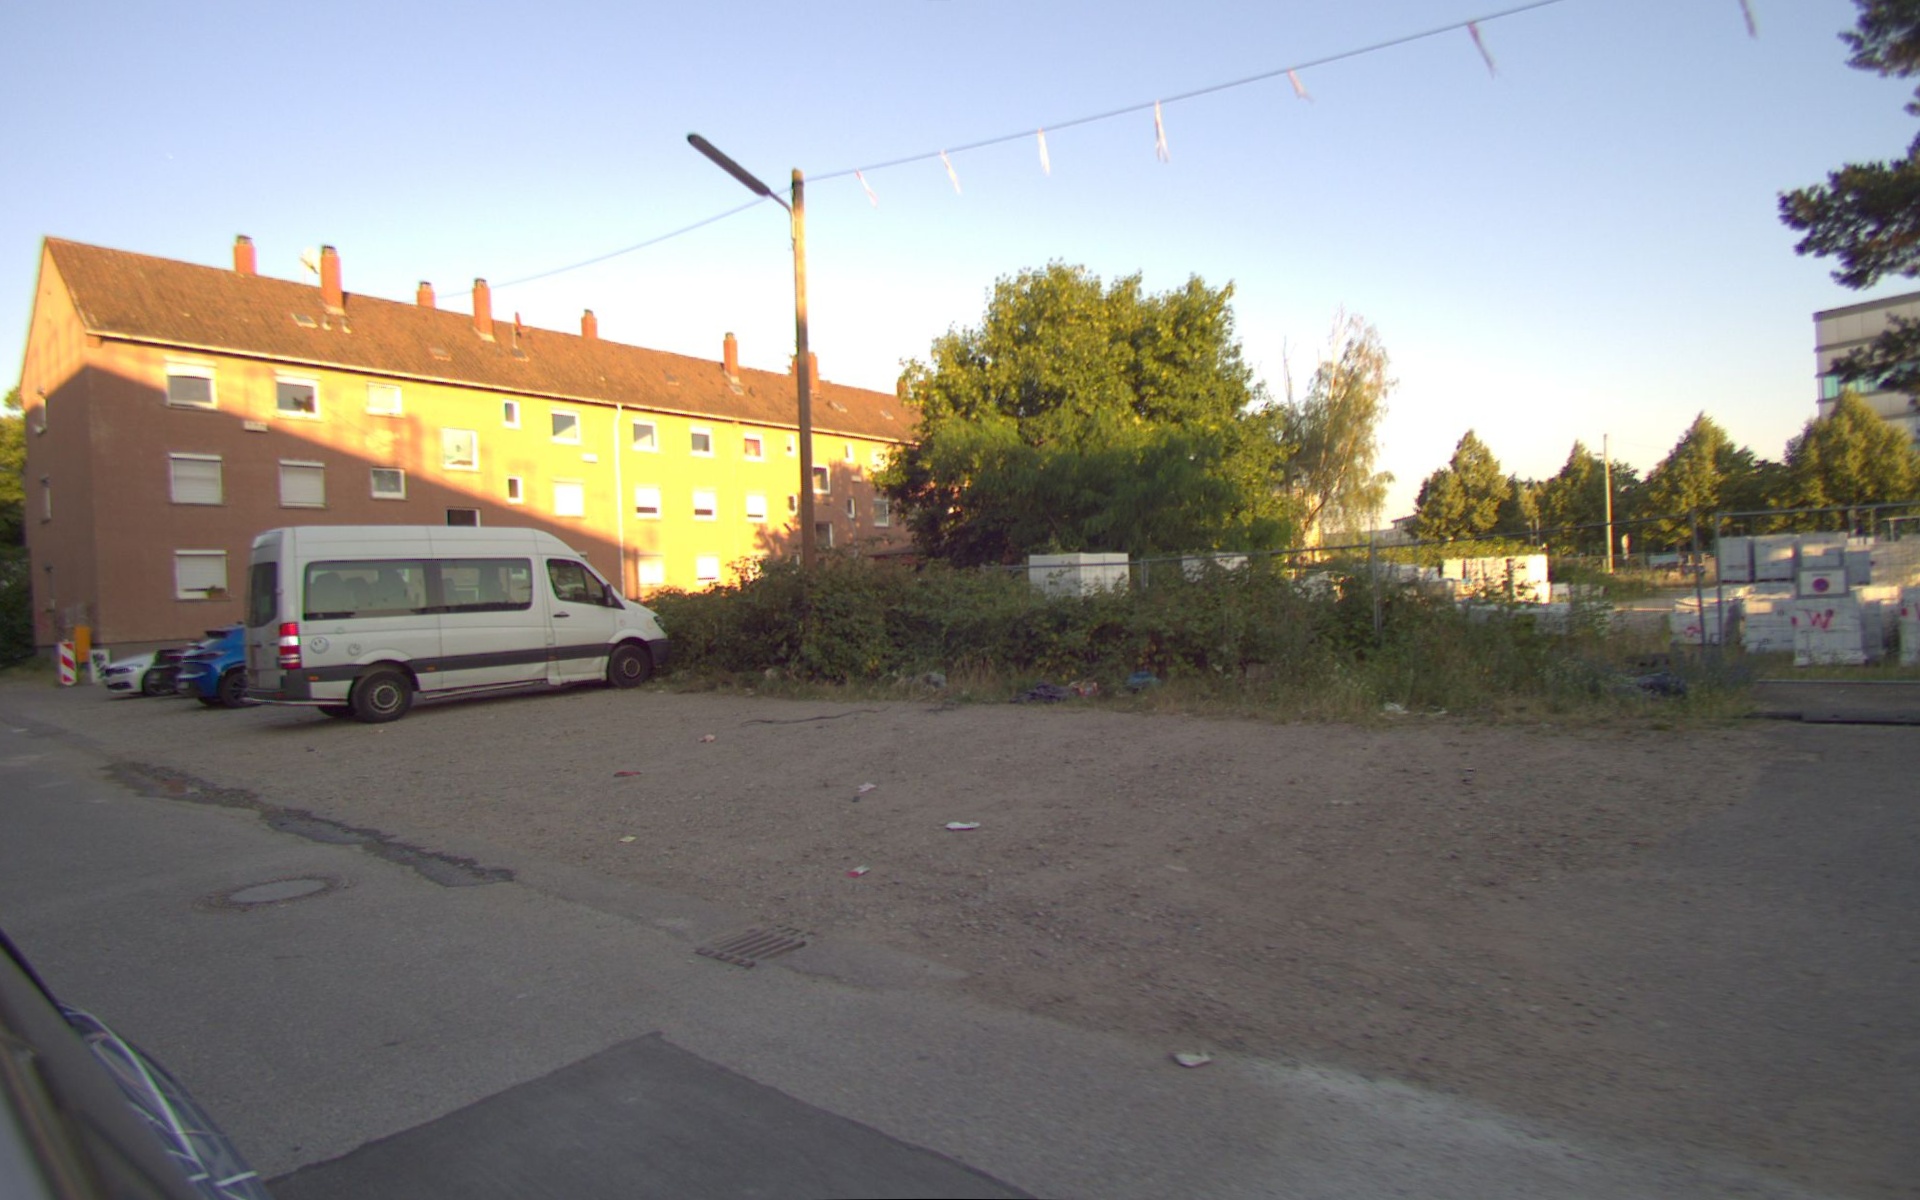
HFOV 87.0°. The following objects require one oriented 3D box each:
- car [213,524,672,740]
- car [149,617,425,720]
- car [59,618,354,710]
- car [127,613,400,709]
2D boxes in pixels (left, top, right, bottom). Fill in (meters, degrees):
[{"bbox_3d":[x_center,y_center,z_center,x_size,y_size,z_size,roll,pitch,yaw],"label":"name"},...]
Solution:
[{"bbox_3d":[-7.477,0.282,15.215,2.221,2.645,5.629,-2,1,42],"label":"car"},{"bbox_3d":[-12.186,1.172,18.526,1.725,1.440,3.801,-2,1,37],"label":"car"},{"bbox_3d":[-16.936,1.364,23.031,2.111,1.556,4.950,-2,1,36],"label":"car"},{"bbox_3d":[-14.504,1.207,21.320,1.724,1.556,4.377,-2,1,36],"label":"car"}]
